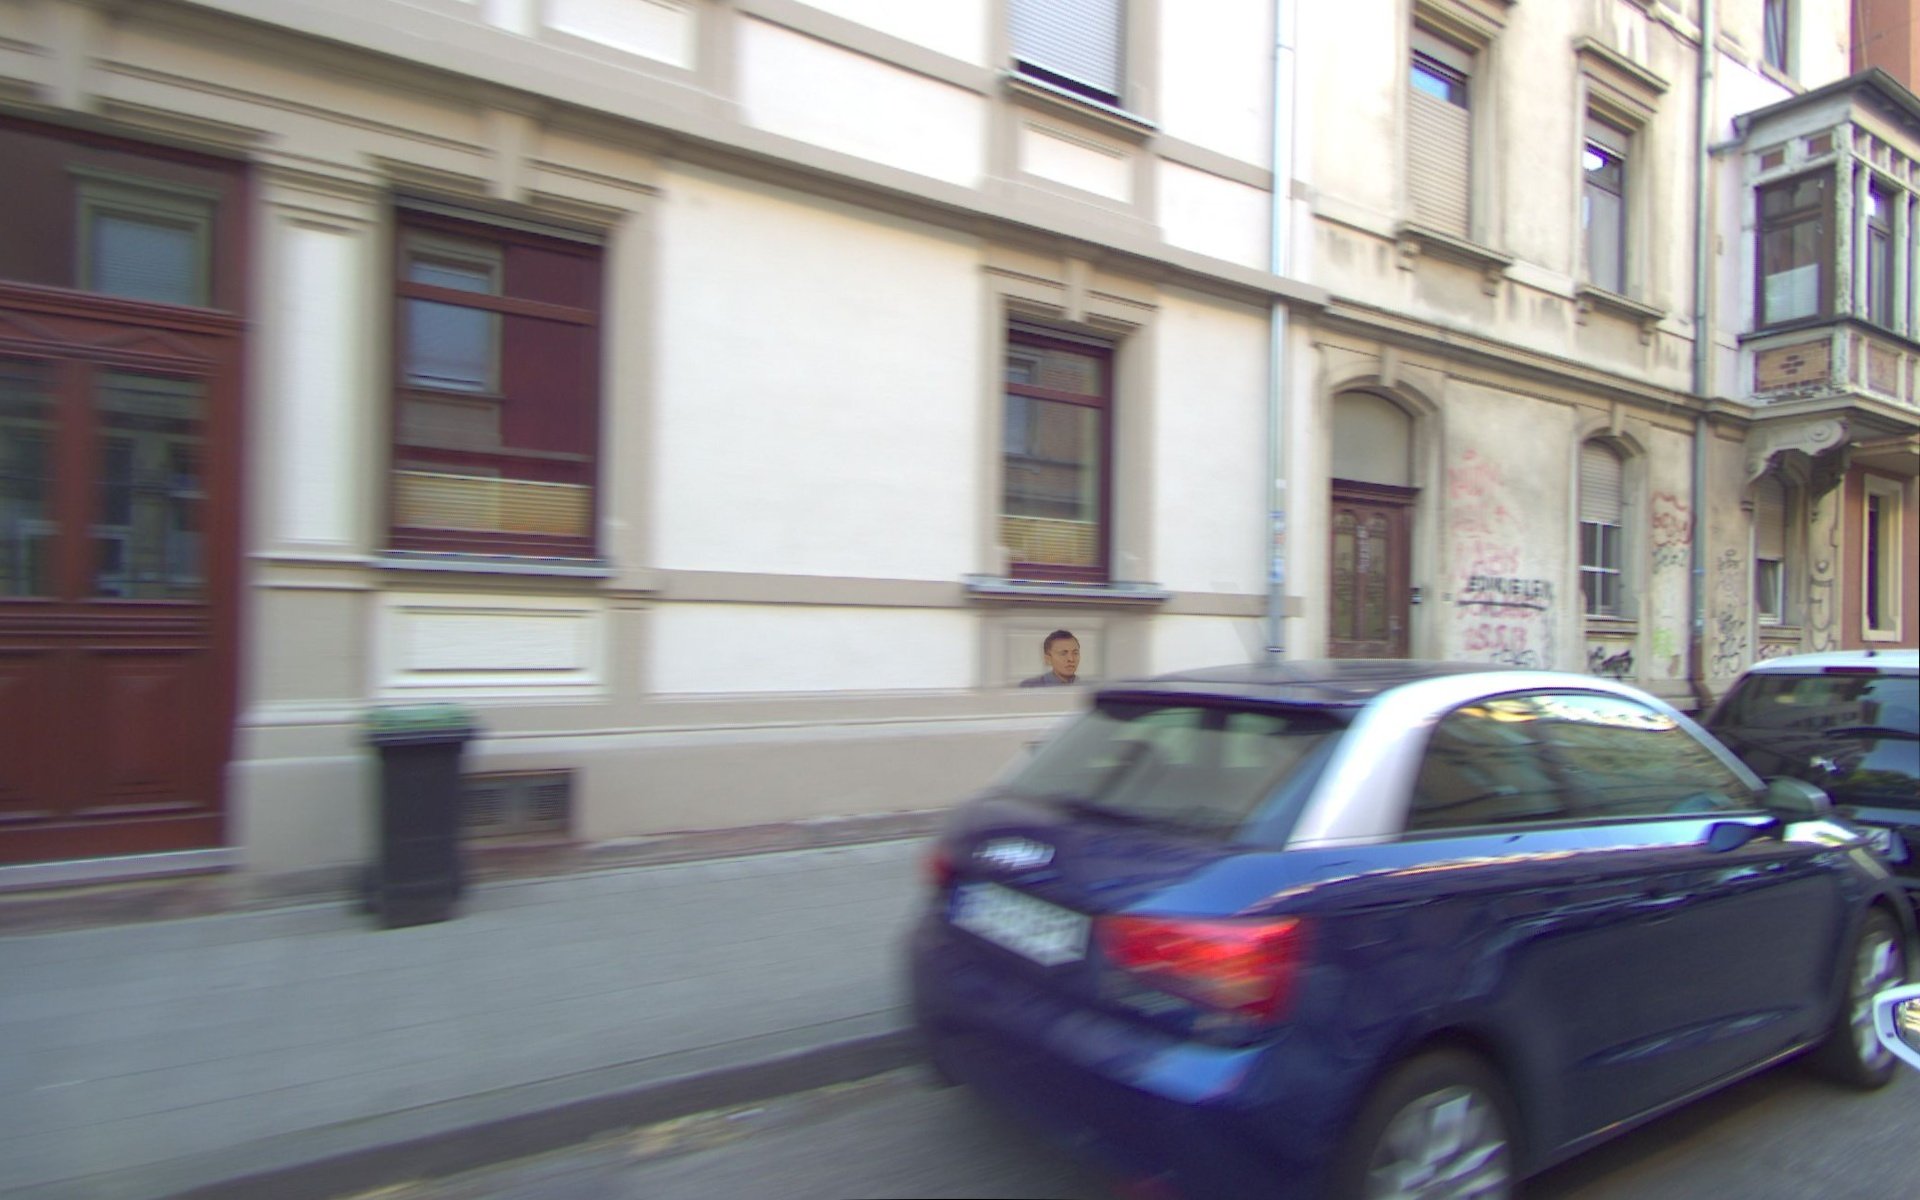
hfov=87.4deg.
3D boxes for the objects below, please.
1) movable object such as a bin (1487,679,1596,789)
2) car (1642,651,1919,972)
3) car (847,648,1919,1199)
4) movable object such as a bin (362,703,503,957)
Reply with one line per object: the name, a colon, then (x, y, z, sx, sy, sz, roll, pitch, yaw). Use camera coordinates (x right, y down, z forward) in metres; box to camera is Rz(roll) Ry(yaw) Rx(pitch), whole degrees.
movable object such as a bin: (5.378, 1.214, 9.297, 0.725, 0.932, 0.609, 2, -2, -30)
car: (5.876, 1.037, 5.904, 3.795, 1.474, 1.635, 1, -4, -31)
car: (1.662, 0.898, 3.490, 3.701, 1.422, 1.772, 2, -2, -32)
movable object such as a bin: (-2.366, 0.980, 4.500, 0.505, 0.968, 0.618, 2, 0, -30)
